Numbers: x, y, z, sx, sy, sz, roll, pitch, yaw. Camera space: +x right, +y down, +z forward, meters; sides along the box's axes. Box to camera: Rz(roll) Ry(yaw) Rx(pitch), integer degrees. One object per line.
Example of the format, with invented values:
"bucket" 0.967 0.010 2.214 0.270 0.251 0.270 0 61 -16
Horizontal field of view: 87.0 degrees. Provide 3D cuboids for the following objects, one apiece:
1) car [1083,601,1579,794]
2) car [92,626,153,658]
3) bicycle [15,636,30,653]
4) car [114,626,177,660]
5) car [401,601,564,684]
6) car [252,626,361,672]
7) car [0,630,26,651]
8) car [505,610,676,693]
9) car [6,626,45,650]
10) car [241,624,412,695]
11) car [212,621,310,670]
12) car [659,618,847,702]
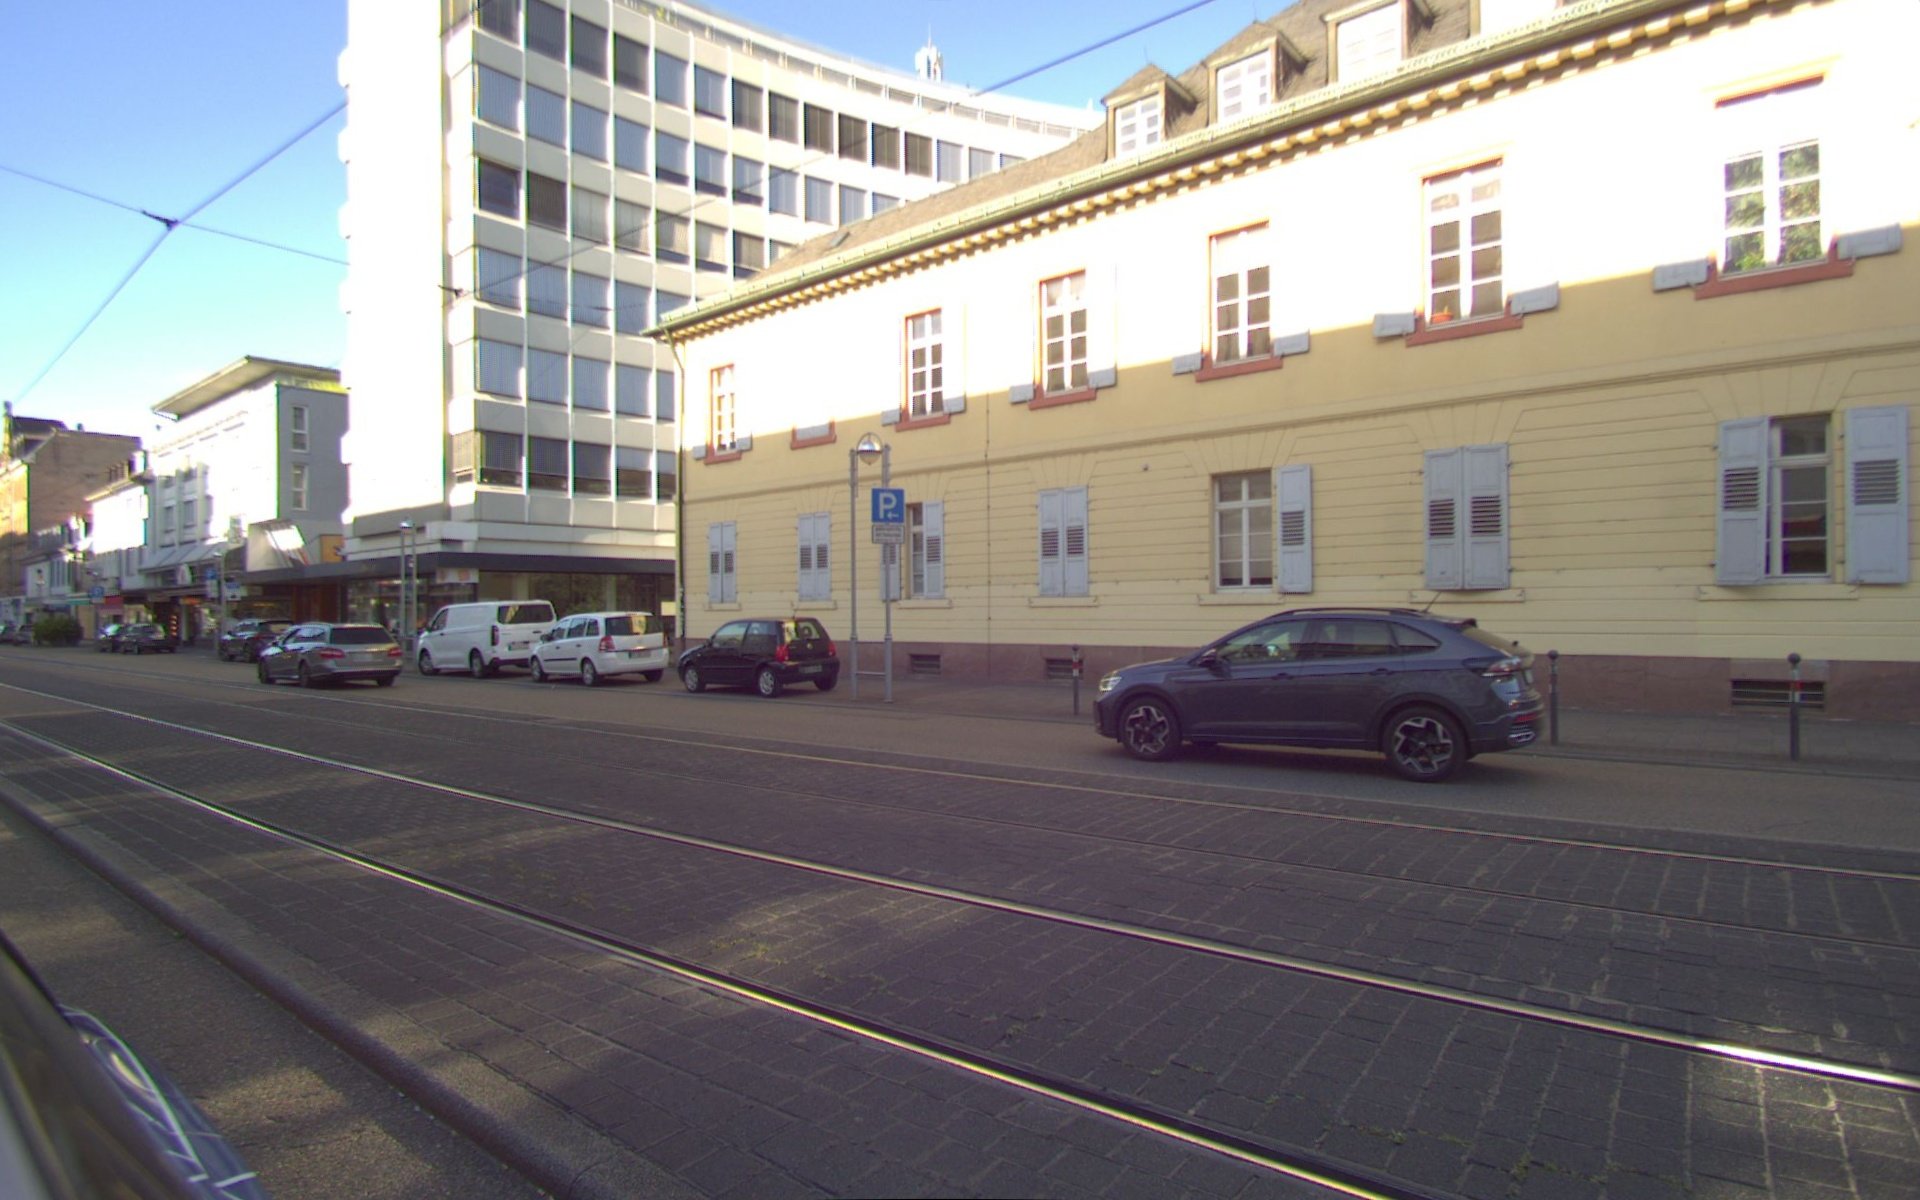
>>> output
"car" 3.518 0.808 9.904 4.268 1.523 1.750 -1 -1 34
"car" -45.404 2.238 54.850 4.848 1.535 1.719 -1 1 41
"bicycle" -62.677 2.956 67.630 1.714 1.098 0.513 -1 1 40
"car" -40.834 2.132 50.719 3.584 1.535 1.586 -1 1 37
"car" -12.980 1.080 27.349 5.091 1.990 1.974 -1 1 40
"car" -23.378 1.705 36.157 4.651 1.431 1.870 -1 1 39
"car" -74.704 3.137 79.198 4.759 1.525 1.799 -1 0 40
"car" -8.723 1.123 23.692 4.648 1.698 1.788 -1 1 42
"car" -67.595 2.754 73.202 2.889 1.616 1.680 -1 1 40
"car" -15.014 1.349 23.886 4.923 1.507 1.862 -2 -3 38
"car" -27.219 1.713 39.367 4.652 1.691 1.958 -1 1 40
"car" -4.089 1.109 19.772 3.716 1.411 1.598 -1 1 39
